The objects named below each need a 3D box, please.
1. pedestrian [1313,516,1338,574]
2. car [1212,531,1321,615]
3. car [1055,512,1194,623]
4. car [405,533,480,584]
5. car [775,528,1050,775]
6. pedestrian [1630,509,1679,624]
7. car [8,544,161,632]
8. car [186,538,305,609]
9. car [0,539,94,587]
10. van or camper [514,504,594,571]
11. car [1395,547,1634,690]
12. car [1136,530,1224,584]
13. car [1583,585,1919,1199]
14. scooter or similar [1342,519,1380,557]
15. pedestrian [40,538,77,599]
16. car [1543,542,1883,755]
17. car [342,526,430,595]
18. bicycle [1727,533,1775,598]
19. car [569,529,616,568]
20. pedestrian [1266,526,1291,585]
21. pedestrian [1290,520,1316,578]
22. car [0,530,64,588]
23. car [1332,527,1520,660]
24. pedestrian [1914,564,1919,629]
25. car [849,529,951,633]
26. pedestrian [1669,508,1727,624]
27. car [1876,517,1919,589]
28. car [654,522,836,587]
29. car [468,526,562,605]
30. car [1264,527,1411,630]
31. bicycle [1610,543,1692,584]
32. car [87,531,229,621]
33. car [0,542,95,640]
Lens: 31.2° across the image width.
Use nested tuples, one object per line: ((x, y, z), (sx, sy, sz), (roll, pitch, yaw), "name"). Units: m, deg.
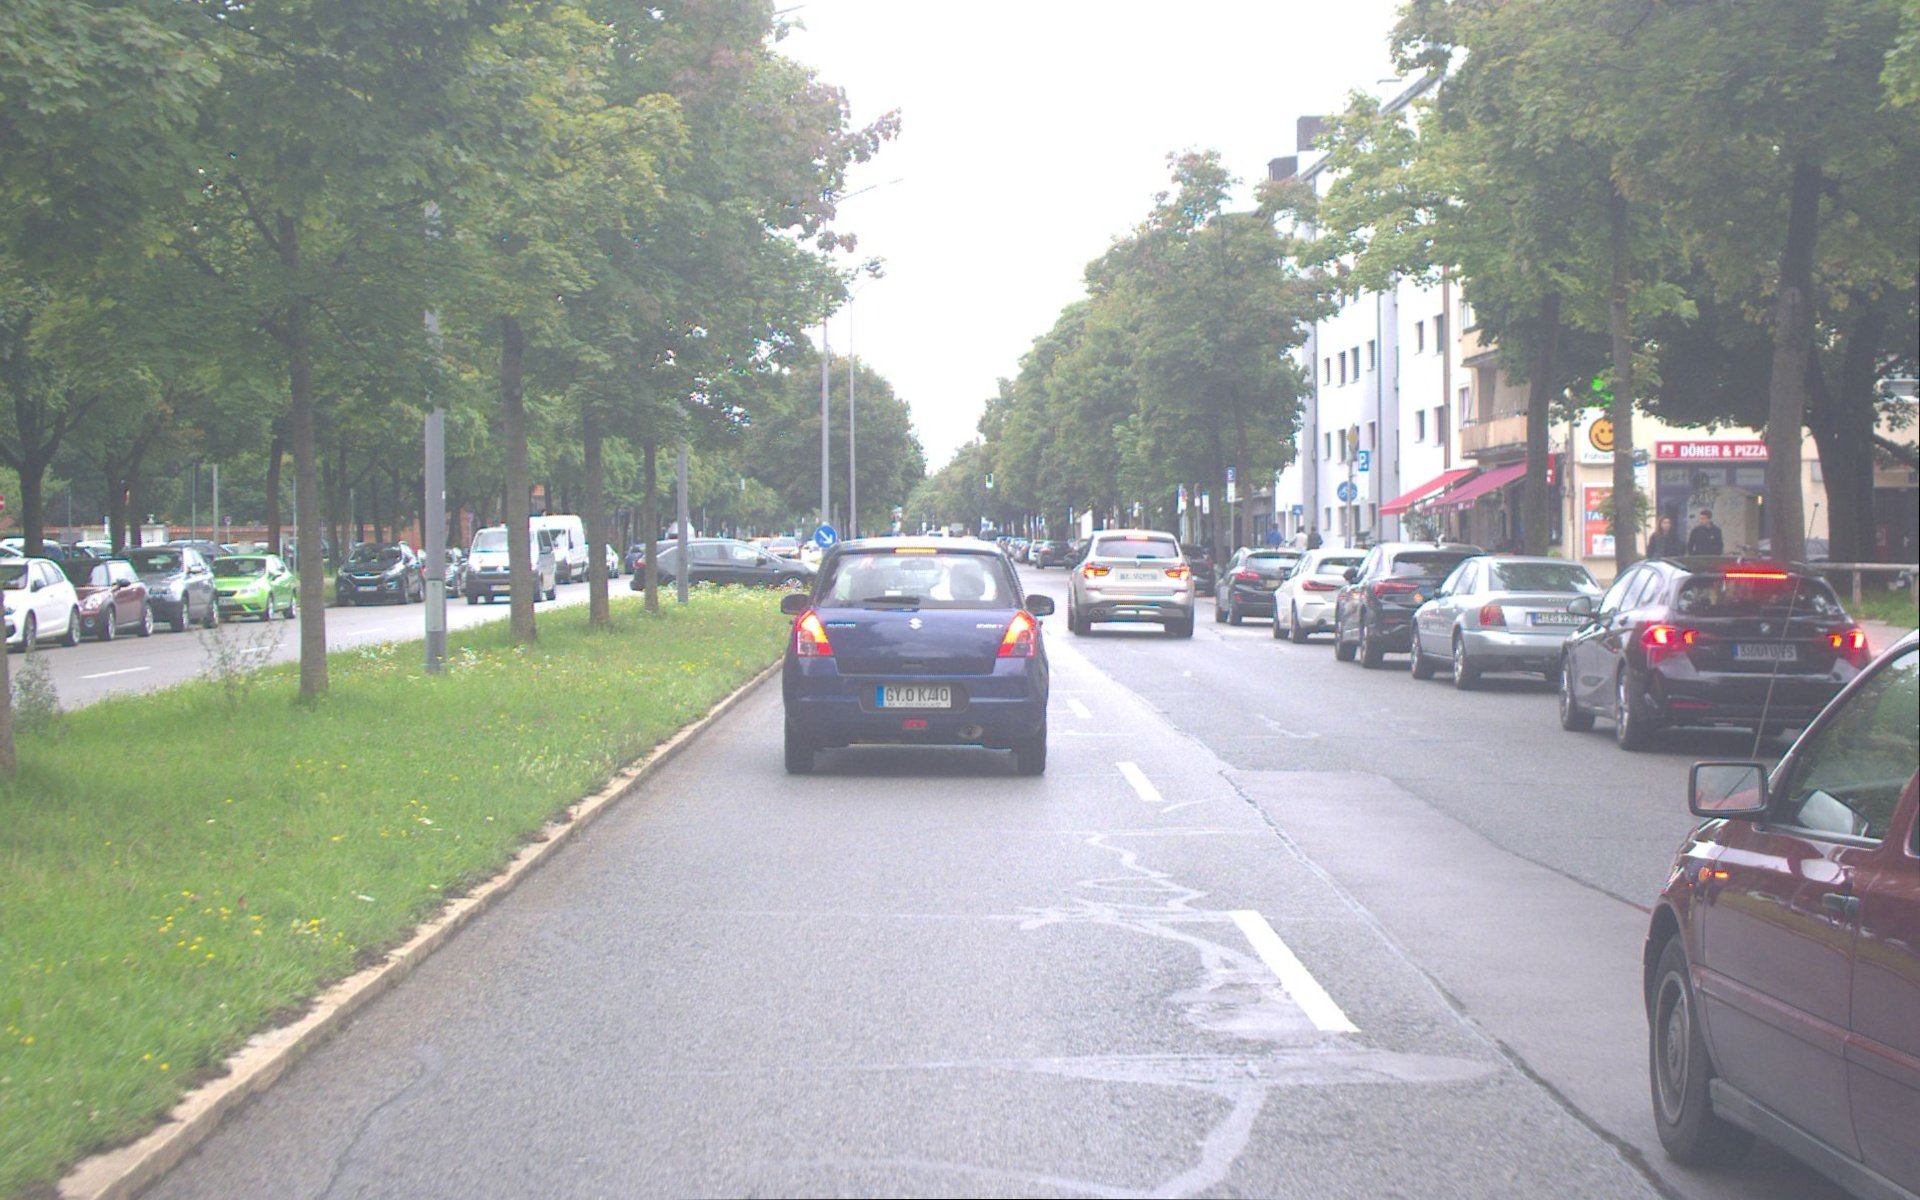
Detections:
((12.666, -1.913, 119.171), (0.794, 2.007, 1.006), (0, 1, 0), "pedestrian")
((5.642, -0.520, 63.694), (1.617, 1.460, 3.674), (2, 1, 0), "car")
((2.577, -0.552, 54.862), (1.865, 1.655, 4.408), (1, 1, -1), "car")
((-15.183, -1.224, 100.925), (1.667, 1.440, 3.879), (1, 1, -1), "car")
((-0.335, 0.276, 23.039), (1.682, 1.496, 3.919), (0, 1, -1), "car")
((11.457, -0.555, 56.717), (0.588, 1.883, 0.902), (-1, 1, -1), "pedestrian")
((-15.054, -0.223, 59.256), (1.591, 1.392, 3.630), (-2, 1, 1), "car")
((-15.190, -0.590, 73.230), (1.547, 1.404, 3.879), (-2, 1, 2), "car")
((-28.681, -1.144, 105.455), (3.865, 1.440, 1.673), (1, 1, -5), "car")
((-15.563, -2.379, 132.157), (2.117, 2.473, 7.449), (1, 1, 1), "van or camper")
((5.902, 0.158, 37.020), (1.636, 1.381, 4.245), (1, 1, -3), "car")
((6.004, -1.190, 94.212), (1.865, 1.412, 4.225), (-1, 1, -3), "car")
((2.511, 0.709, 6.934), (1.682, 1.379, 3.919), (1, 1, -1), "car")
((14.063, -2.179, 120.642), (1.033, 1.303, 2.755), (0, 1, 0), "scooter or similar")
((-22.827, -0.803, 87.097), (0.727, 1.528, 0.721), (1, 1, 0), "pedestrian")
((5.756, 0.310, 26.755), (1.750, 1.460, 4.176), (1, 1, 1), "car")
((-15.088, -1.049, 90.510), (1.716, 1.735, 3.879), (1, 1, -1), "car")
((13.485, -0.595, 58.613), (0.381, 1.099, 1.883), (1, 1, 0), "bicycle")
((-15.507, -2.183, 145.198), (1.632, 1.577, 3.879), (1, 1, -1), "car")
((10.983, -1.541, 118.628), (0.794, 2.007, 1.006), (0, 1, 0), "pedestrian")
((11.832, -1.755, 118.681), (0.794, 2.007, 1.006), (0, 1, 0), "pedestrian")
((-28.959, -1.241, 102.882), (3.918, 1.712, 1.673), (1, 1, -5), "car")
((5.743, -0.125, 42.837), (1.716, 1.528, 4.276), (1, 1, 0), "car")
((14.309, -0.053, 50.570), (0.407, 0.946, 0.435), (-1, 1, -1), "pedestrian")
((-0.891, -0.302, 50.635), (1.444, 1.478, 3.107), (0, 1, -1), "car")
((12.170, -0.564, 56.712), (0.729, 1.883, 0.919), (-1, 1, -1), "pedestrian")
((23.911, -1.129, 80.478), (4.392, 1.655, 1.872), (-1, 1, -3), "car")
((-4.994, -1.058, 79.562), (4.121, 1.463, 1.840), (0, 1, -6), "car")
((-11.378, -0.895, 88.162), (1.799, 1.927, 4.994), (-2, 1, -1), "car")
((5.793, -0.366, 53.138), (1.682, 1.460, 4.137), (2, 1, -1), "car")
((16.574, -0.885, 82.480), (1.847, 0.954, 0.557), (1, 1, -1), "bicycle")
((-15.127, -0.483, 65.040), (1.690, 1.581, 4.371), (-2, 1, -1), "car")
((-15.000, -0.159, 54.196), (1.607, 1.439, 4.279), (-2, 1, 0), "car")
